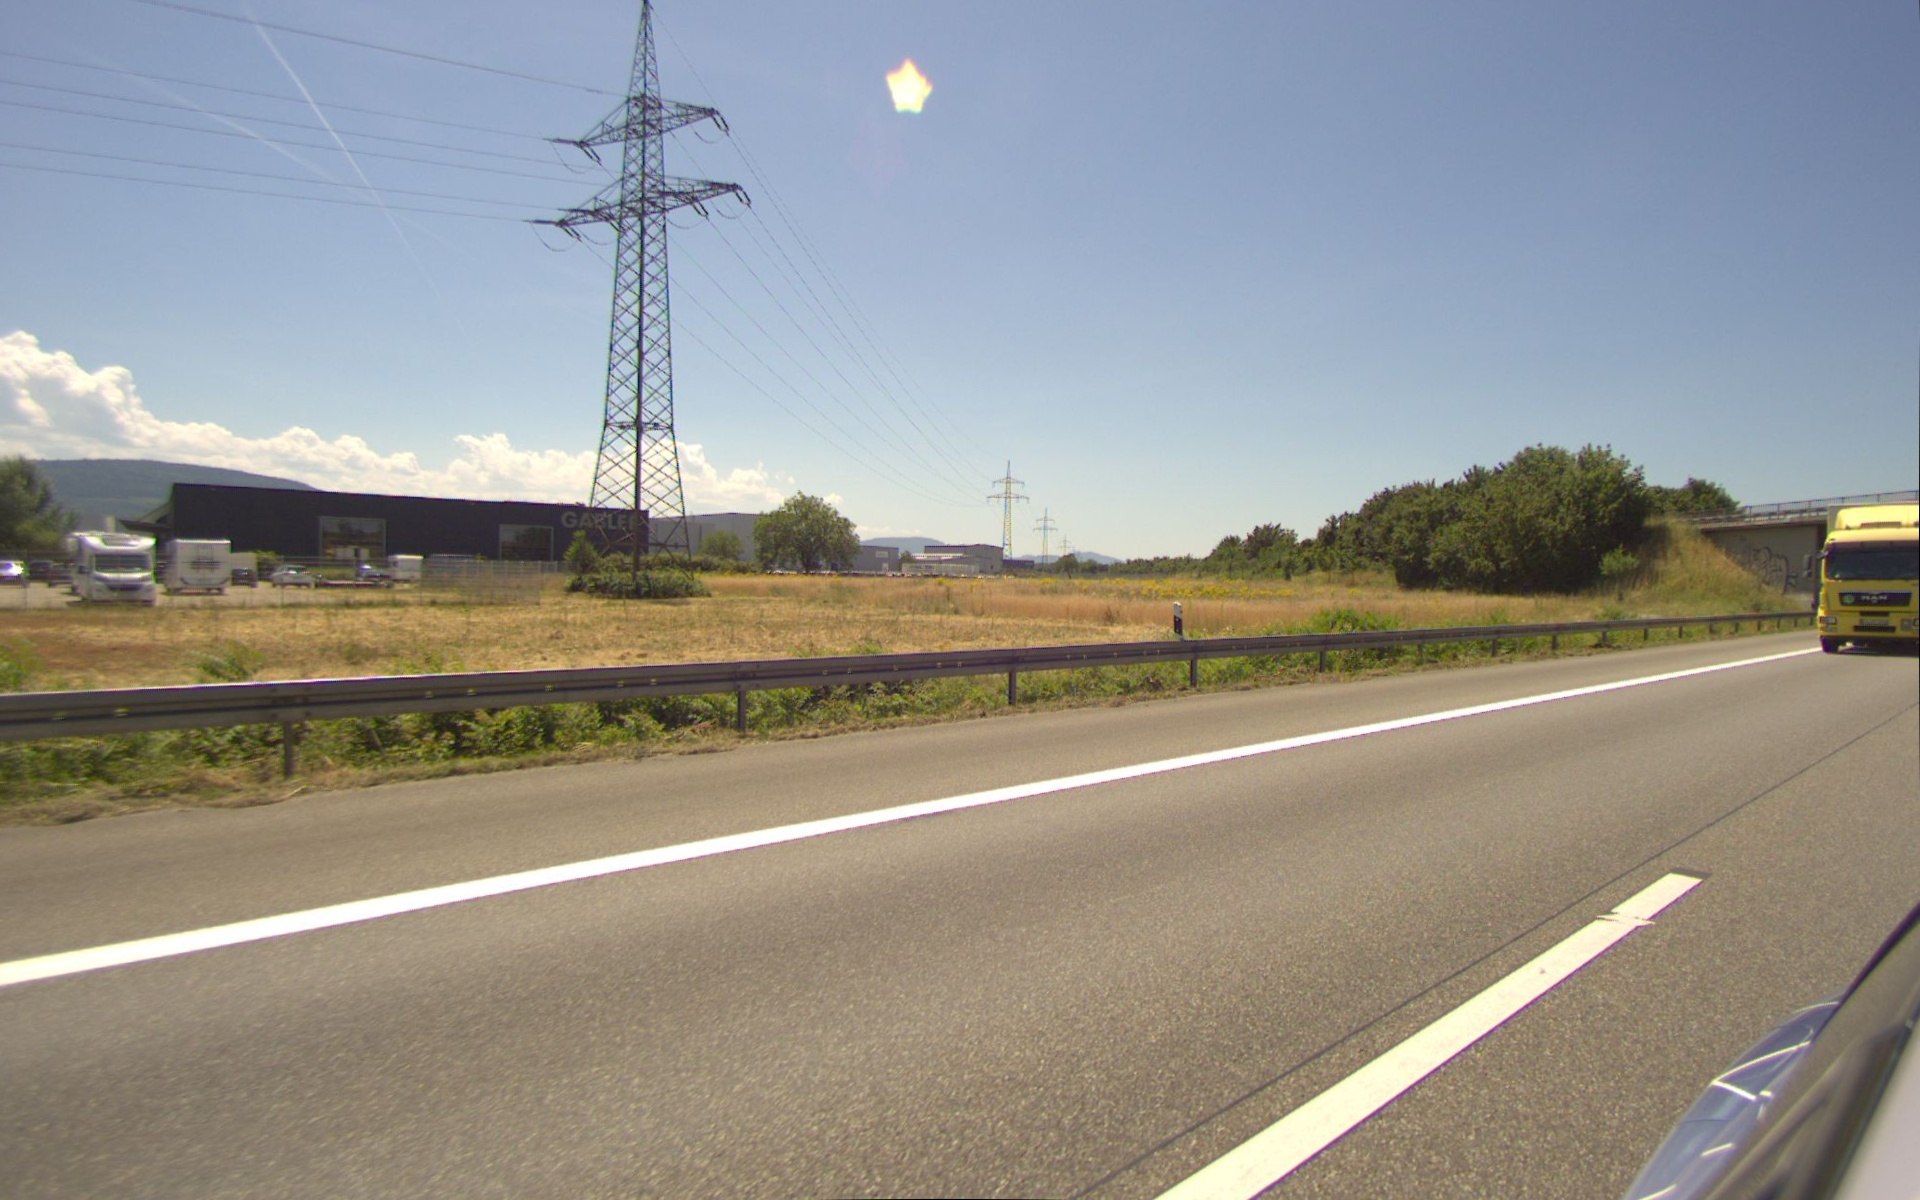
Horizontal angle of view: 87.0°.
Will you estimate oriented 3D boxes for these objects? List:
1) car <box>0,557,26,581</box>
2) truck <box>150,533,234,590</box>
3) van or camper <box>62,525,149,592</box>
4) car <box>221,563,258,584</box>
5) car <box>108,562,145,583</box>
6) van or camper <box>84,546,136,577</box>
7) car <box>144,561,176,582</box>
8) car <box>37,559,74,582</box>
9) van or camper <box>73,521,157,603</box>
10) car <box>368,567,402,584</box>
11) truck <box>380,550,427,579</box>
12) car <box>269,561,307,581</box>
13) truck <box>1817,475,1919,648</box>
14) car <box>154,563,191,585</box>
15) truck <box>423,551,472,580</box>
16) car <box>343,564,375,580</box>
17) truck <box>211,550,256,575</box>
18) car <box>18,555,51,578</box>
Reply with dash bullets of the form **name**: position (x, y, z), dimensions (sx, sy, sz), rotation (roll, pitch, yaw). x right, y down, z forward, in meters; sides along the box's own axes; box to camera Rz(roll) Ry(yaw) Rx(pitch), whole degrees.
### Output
- **car**: position (-58.519, -1.902, 62.123), dimensions (1.670, 1.431, 3.992), rotation (0, 2, -42)
- **truck**: position (-42.103, -2.093, 55.380), dimensions (2.729, 2.916, 7.743), rotation (0, 2, -45)
- **van or camper**: position (-44.757, -2.134, 52.916), dimensions (7.738, 3.233, 2.633), rotation (2, 2, 44)
- **car**: position (-50.067, -1.863, 70.302), dimensions (1.670, 1.371, 3.992), rotation (0, 2, -42)
- **car**: position (-54.185, -1.797, 65.784), dimensions (1.670, 1.371, 3.992), rotation (0, 2, -42)
- **van or camper**: position (-65.619, -2.977, 78.049), dimensions (2.715, 2.284, 6.218), rotation (0, 2, -44)
- **car**: position (-63.292, -2.252, 80.055), dimensions (1.740, 1.654, 4.236), rotation (0, 2, -42)
- **car**: position (-56.877, -1.881, 63.617), dimensions (1.670, 1.371, 3.992), rotation (0, 2, -42)
- **van or camper**: position (-35.404, -1.568, 42.322), dimensions (2.393, 3.139, 7.749), rotation (0, 2, -42)
- **car**: position (-48.445, -2.089, 85.234), dimensions (1.692, 1.371, 3.992), rotation (0, 2, -42)
- **truck**: position (-49.938, -3.189, 90.796), dimensions (2.528, 2.477, 6.145), rotation (0, 2, -40)
- **car**: position (-47.911, -2.057, 72.113), dimensions (1.692, 1.371, 3.992), rotation (0, 2, -42)
- **truck**: position (27.187, -0.974, 28.660), dimensions (10.495, 4.253, 2.938), rotation (0, 0, -41)
- **car**: position (-52.539, -1.747, 67.476), dimensions (1.670, 1.371, 3.992), rotation (0, 2, -42)
- **truck**: position (-47.137, -3.190, 93.019), dimensions (2.528, 2.477, 6.787), rotation (0, 2, -40)
- **car**: position (-52.450, -2.470, 88.242), dimensions (1.692, 1.371, 3.662), rotation (0, 2, -42)
- **truck**: position (-60.183, -3.118, 83.821), dimensions (2.344, 2.021, 5.146), rotation (0, 2, -44)
- **car**: position (-68.720, -2.472, 75.155), dimensions (1.740, 1.654, 4.236), rotation (0, 2, -42)
